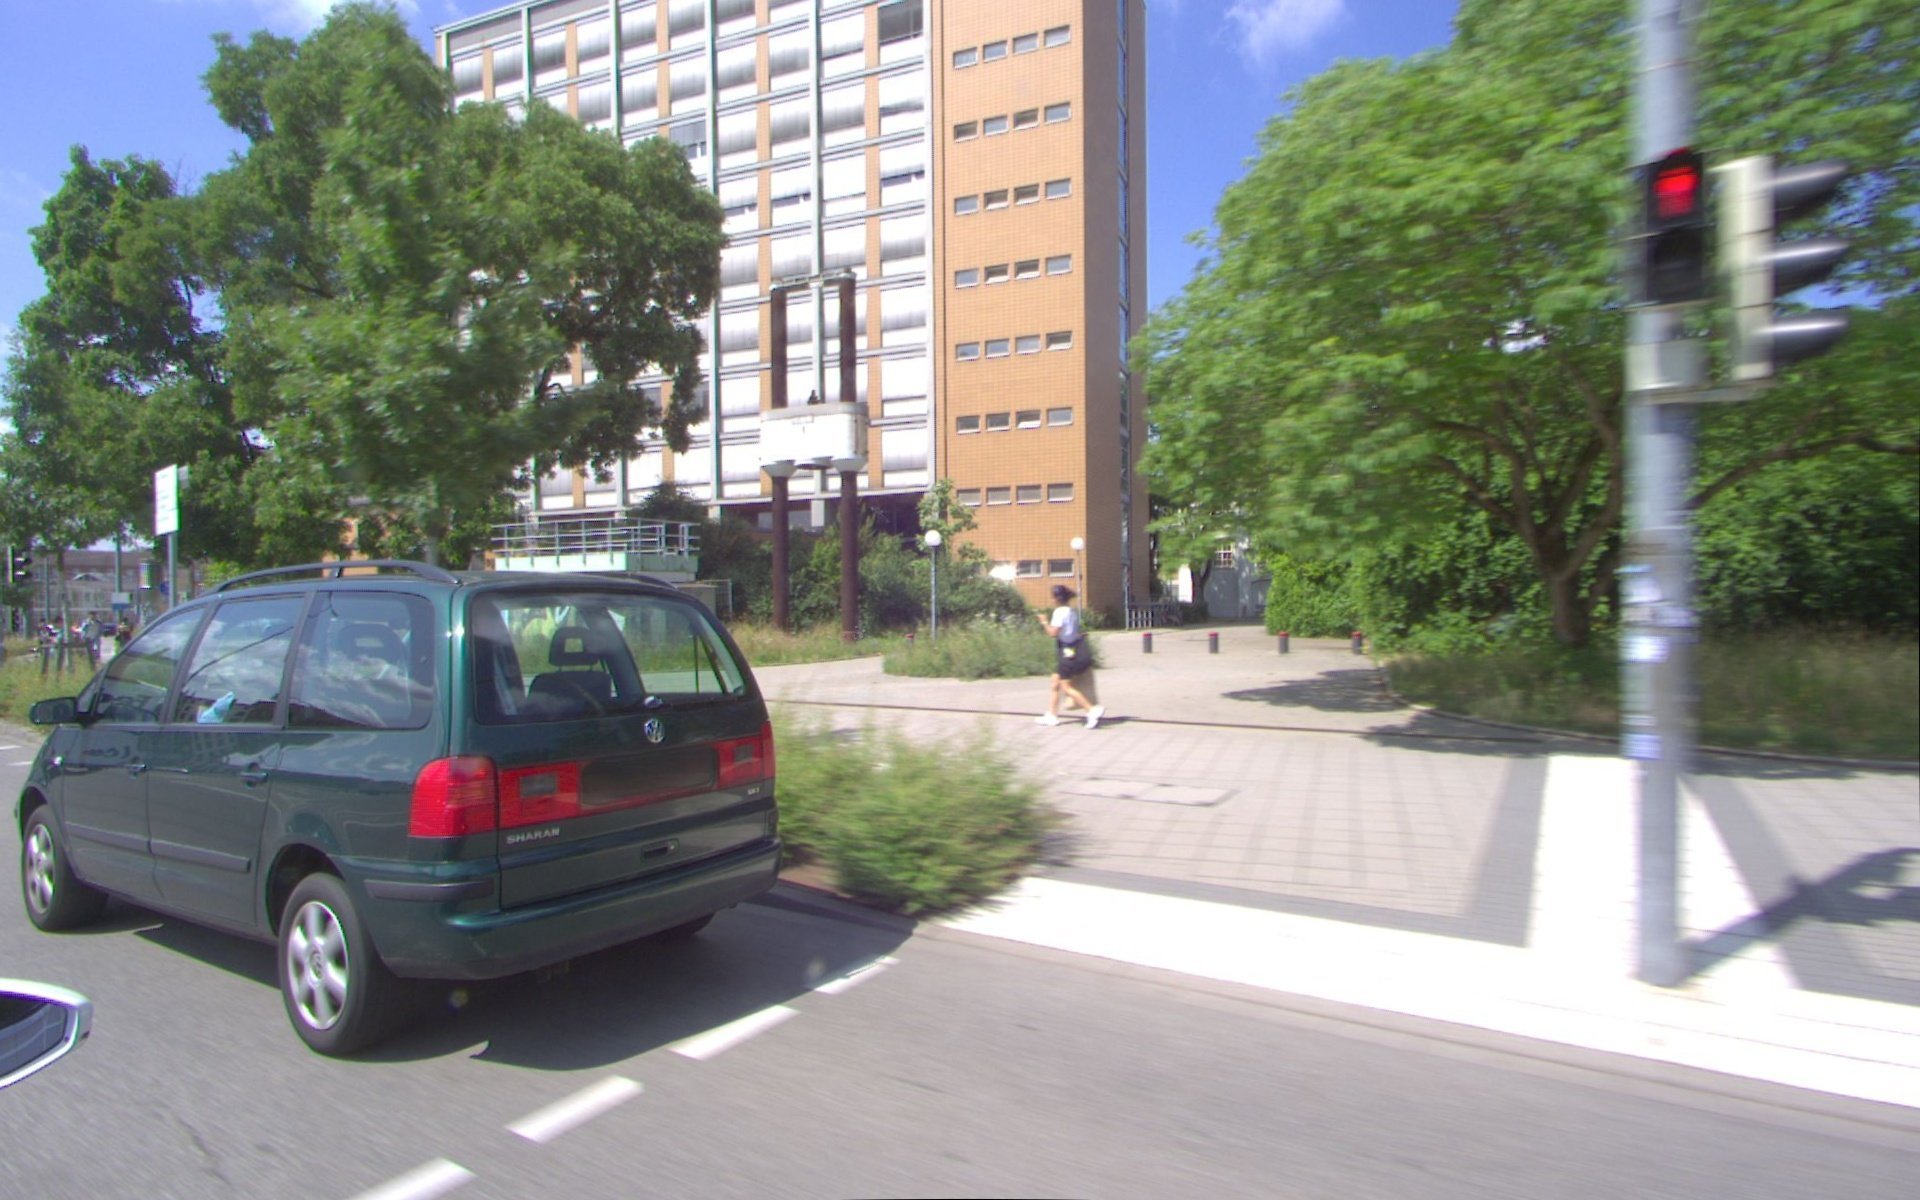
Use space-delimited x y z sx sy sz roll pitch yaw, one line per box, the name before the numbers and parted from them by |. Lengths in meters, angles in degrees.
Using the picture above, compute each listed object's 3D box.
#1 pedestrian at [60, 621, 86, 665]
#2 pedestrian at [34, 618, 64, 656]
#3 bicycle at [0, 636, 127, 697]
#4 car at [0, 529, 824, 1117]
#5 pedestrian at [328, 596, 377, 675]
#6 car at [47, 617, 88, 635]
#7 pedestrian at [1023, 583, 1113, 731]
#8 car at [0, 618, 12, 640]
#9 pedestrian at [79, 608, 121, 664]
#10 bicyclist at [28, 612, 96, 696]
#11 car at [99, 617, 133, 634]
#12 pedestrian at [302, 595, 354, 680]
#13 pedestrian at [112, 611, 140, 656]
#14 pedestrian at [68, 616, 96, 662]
pedestrian | -34.127 1.638 38.534 0.645 1.647 0.768 -3 1 -40
pedestrian | -39.007 1.575 42.877 0.750 1.610 0.755 -1 -2 29
bicycle | -18.060 1.323 20.183 0.584 1.064 1.804 -2 1 33
car | -2.952 0.727 4.918 4.384 1.744 1.792 -1 -3 32
pedestrian | -13.941 0.804 22.978 0.601 1.776 0.748 0 2 33
car | -82.158 2.363 92.220 1.859 1.663 3.939 0 -1 -28
pedestrian | 1.246 0.623 11.465 0.866 1.618 0.750 0 1 19
car | -73.225 2.182 75.647 1.864 1.663 3.929 0 -1 -36
pedestrian | -29.032 1.216 33.807 0.768 1.846 0.754 -1 3 29
bicyclist | -18.077 1.076 20.168 0.572 1.623 0.825 -2 2 33
car | -85.405 2.562 101.366 1.859 1.663 3.939 0 -1 -28
pedestrian | -13.913 0.807 22.045 0.601 1.827 0.748 0 2 33
pedestrian | -34.606 1.410 41.568 0.665 1.844 0.753 -1 -2 36
pedestrian | -31.354 1.397 35.755 0.718 1.646 0.586 -1 -2 35
